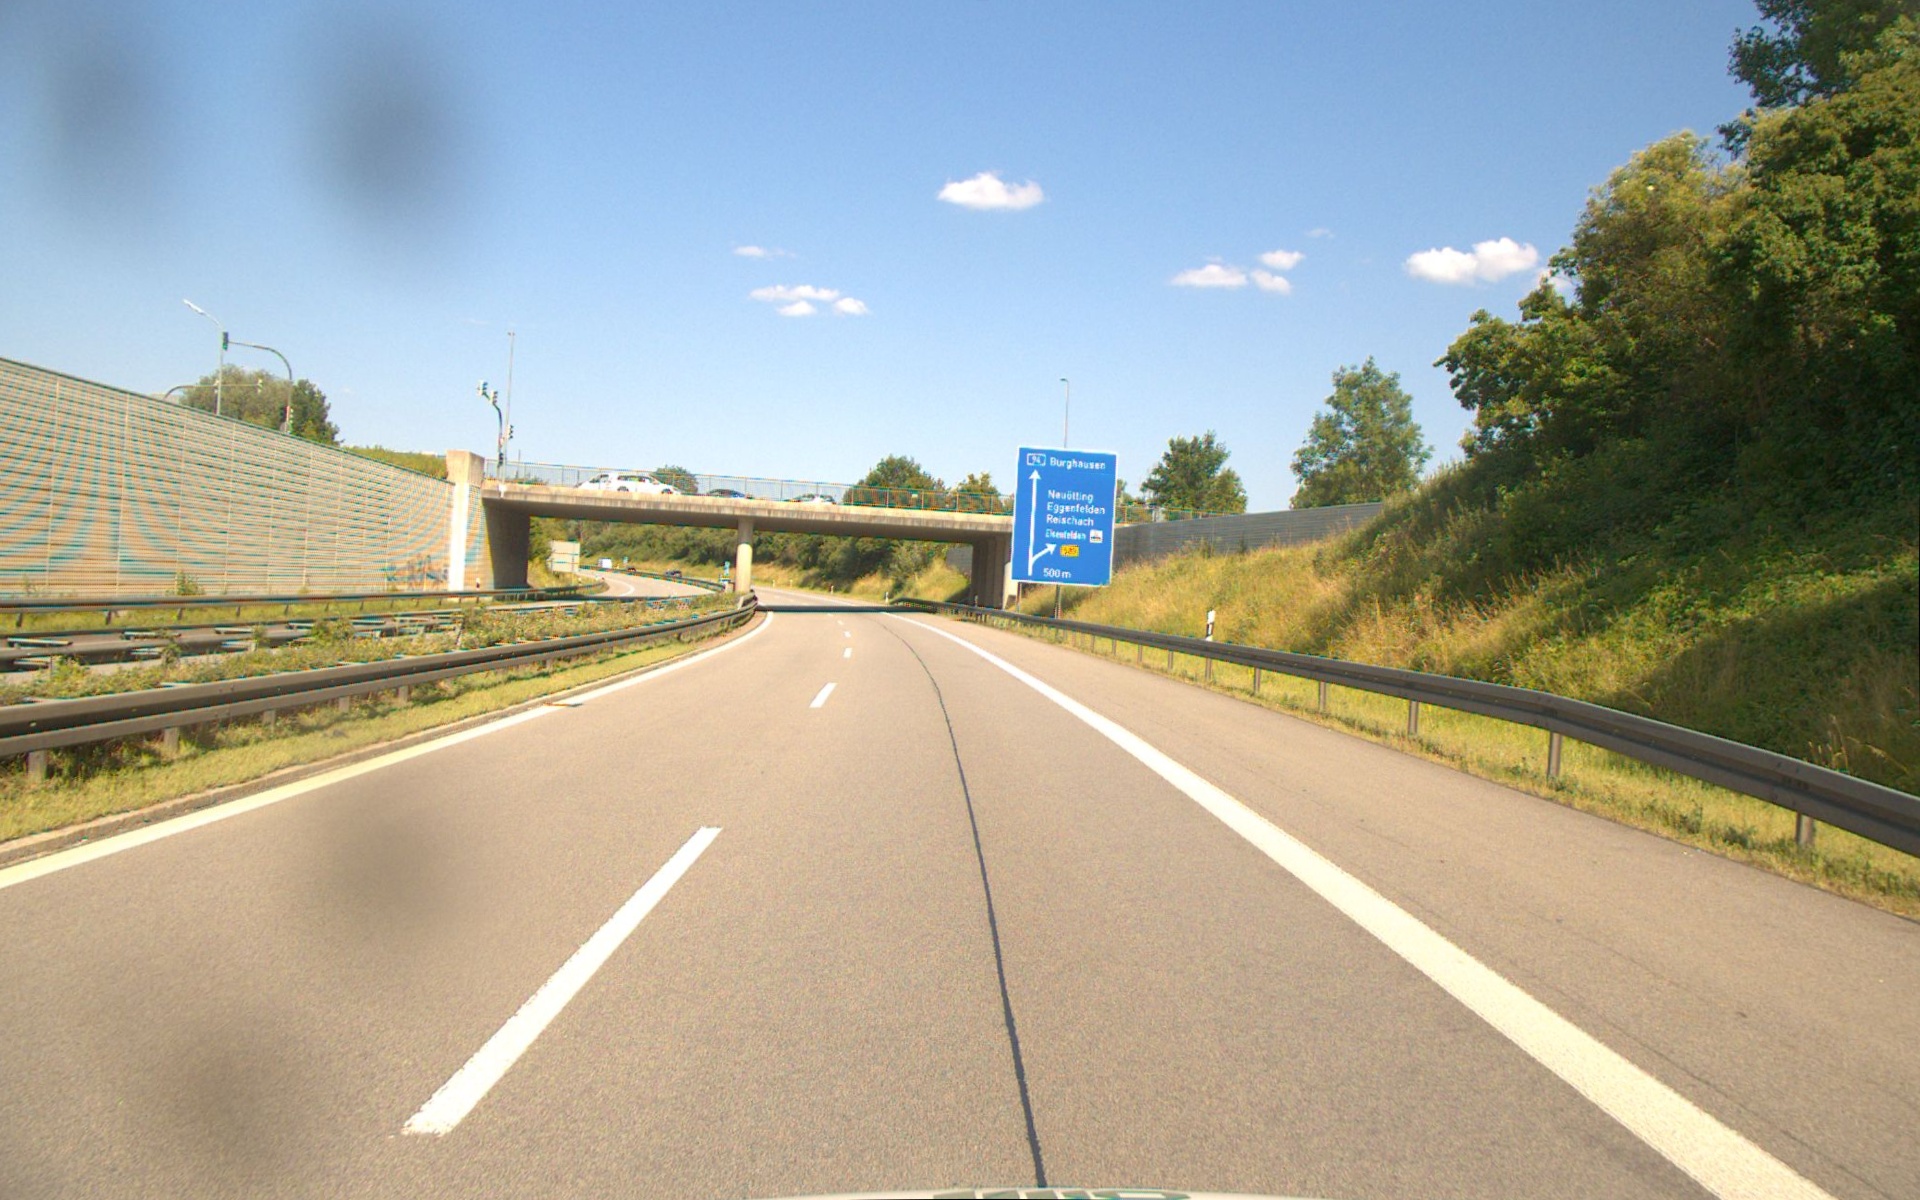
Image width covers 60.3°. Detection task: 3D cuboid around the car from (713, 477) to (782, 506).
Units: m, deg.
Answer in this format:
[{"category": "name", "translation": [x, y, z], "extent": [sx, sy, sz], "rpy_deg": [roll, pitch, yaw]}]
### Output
[{"category": "car", "translation": [-13.735, -6.978, 106.712], "extent": [4.346, 1.583, 1.903], "rpy_deg": [1, 0, -9]}]

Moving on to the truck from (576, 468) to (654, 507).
[{"category": "truck", "translation": [-21.934, -7.166, 105.402], "extent": [4.768, 2.205, 1.995], "rpy_deg": [1, 0, -10]}]

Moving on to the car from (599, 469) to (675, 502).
[{"category": "car", "translation": [-19.494, -6.912, 100.045], "extent": [4.318, 1.625, 1.997], "rpy_deg": [3, -1, -8]}]
